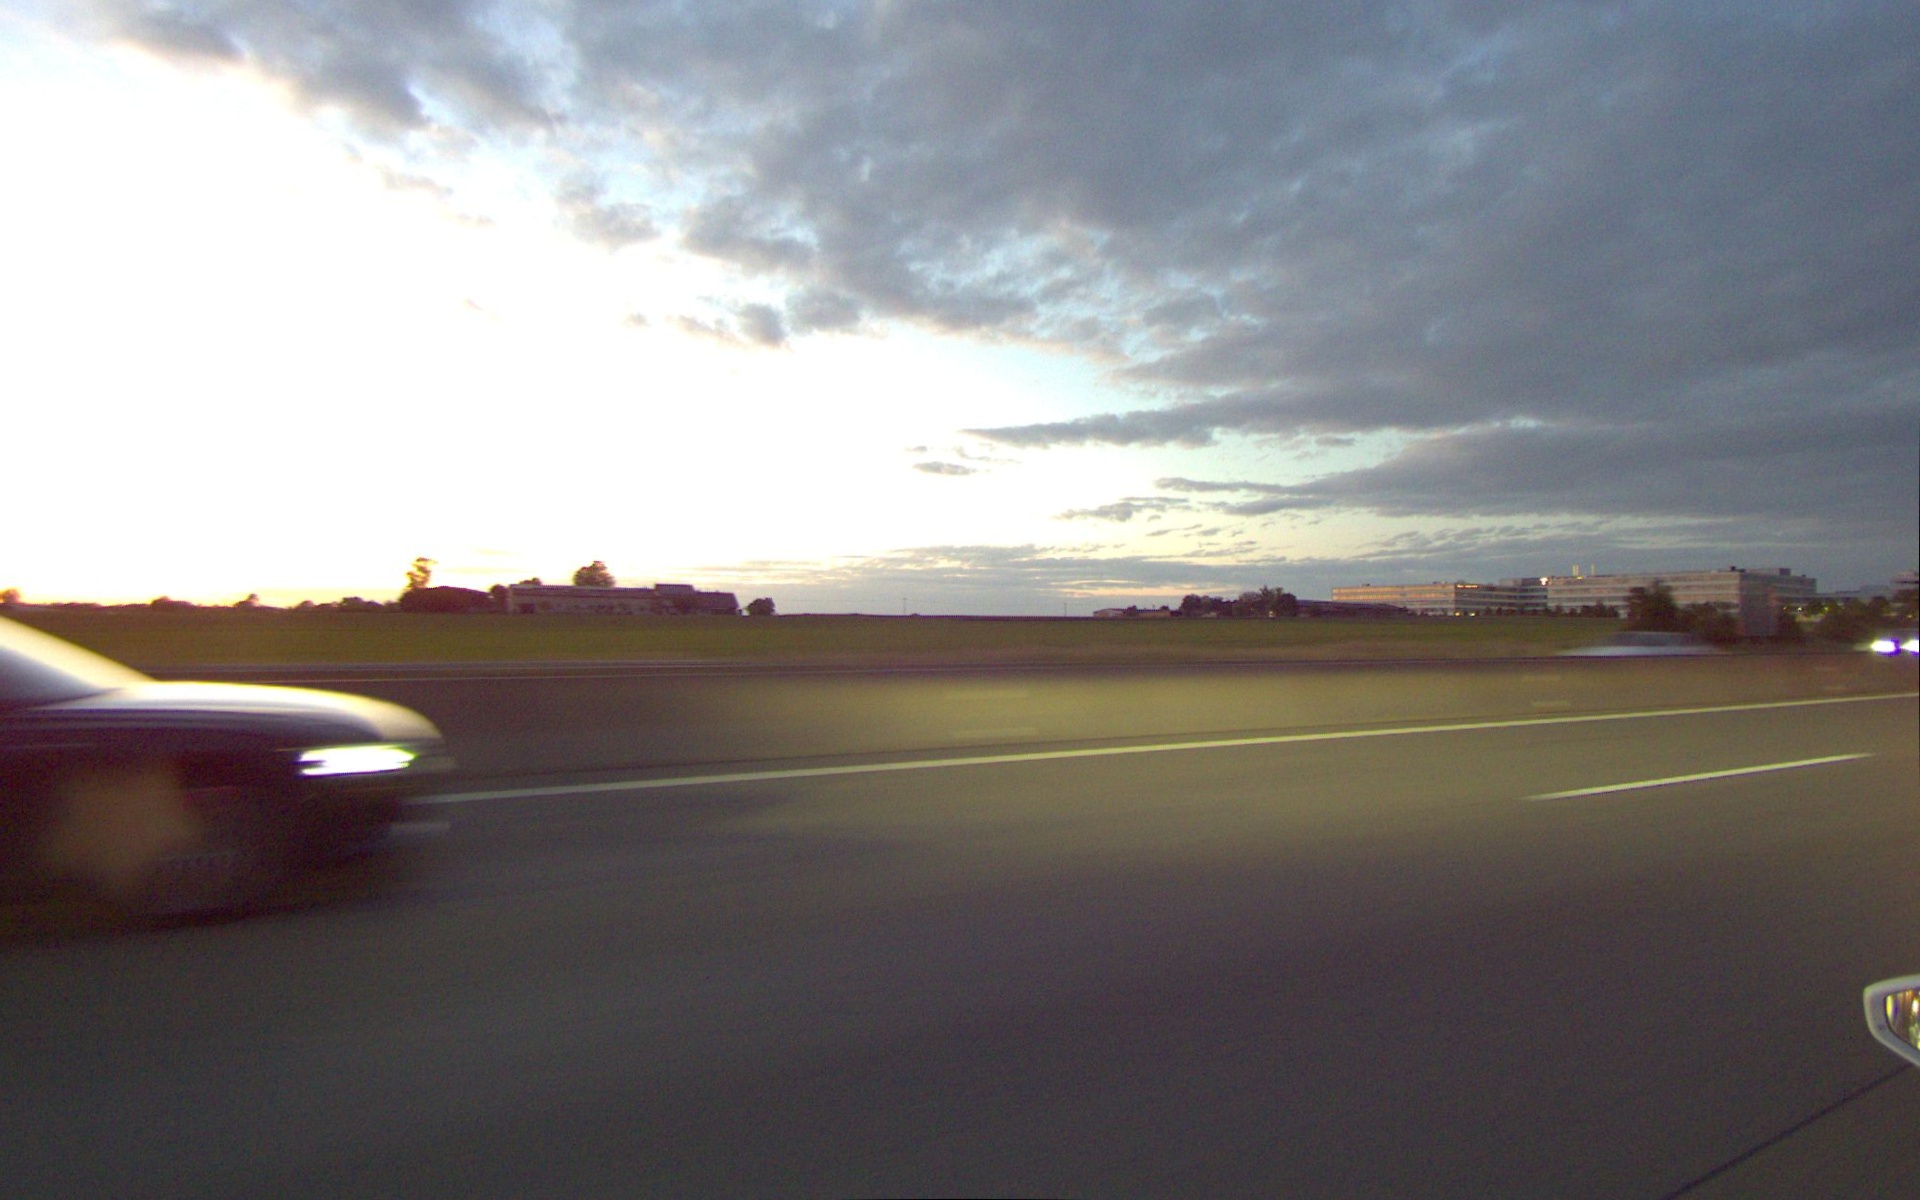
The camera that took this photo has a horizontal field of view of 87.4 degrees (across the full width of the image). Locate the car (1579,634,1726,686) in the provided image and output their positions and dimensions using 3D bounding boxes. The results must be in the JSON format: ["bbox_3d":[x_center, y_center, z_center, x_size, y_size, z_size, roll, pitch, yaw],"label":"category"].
[{"bbox_3d":[20.043,1.723,29.025,4.650,1.317,1.663,2,-1,-30],"label":"car"}]

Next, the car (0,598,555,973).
[{"bbox_3d":[-4.779,0.721,4.435,5.332,1.456,1.805,2,-1,-31],"label":"car"}]

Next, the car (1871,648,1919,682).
[{"bbox_3d":[57.160,3.914,60.543,4.900,1.871,1.984,2,-1,-30],"label":"car"}]
